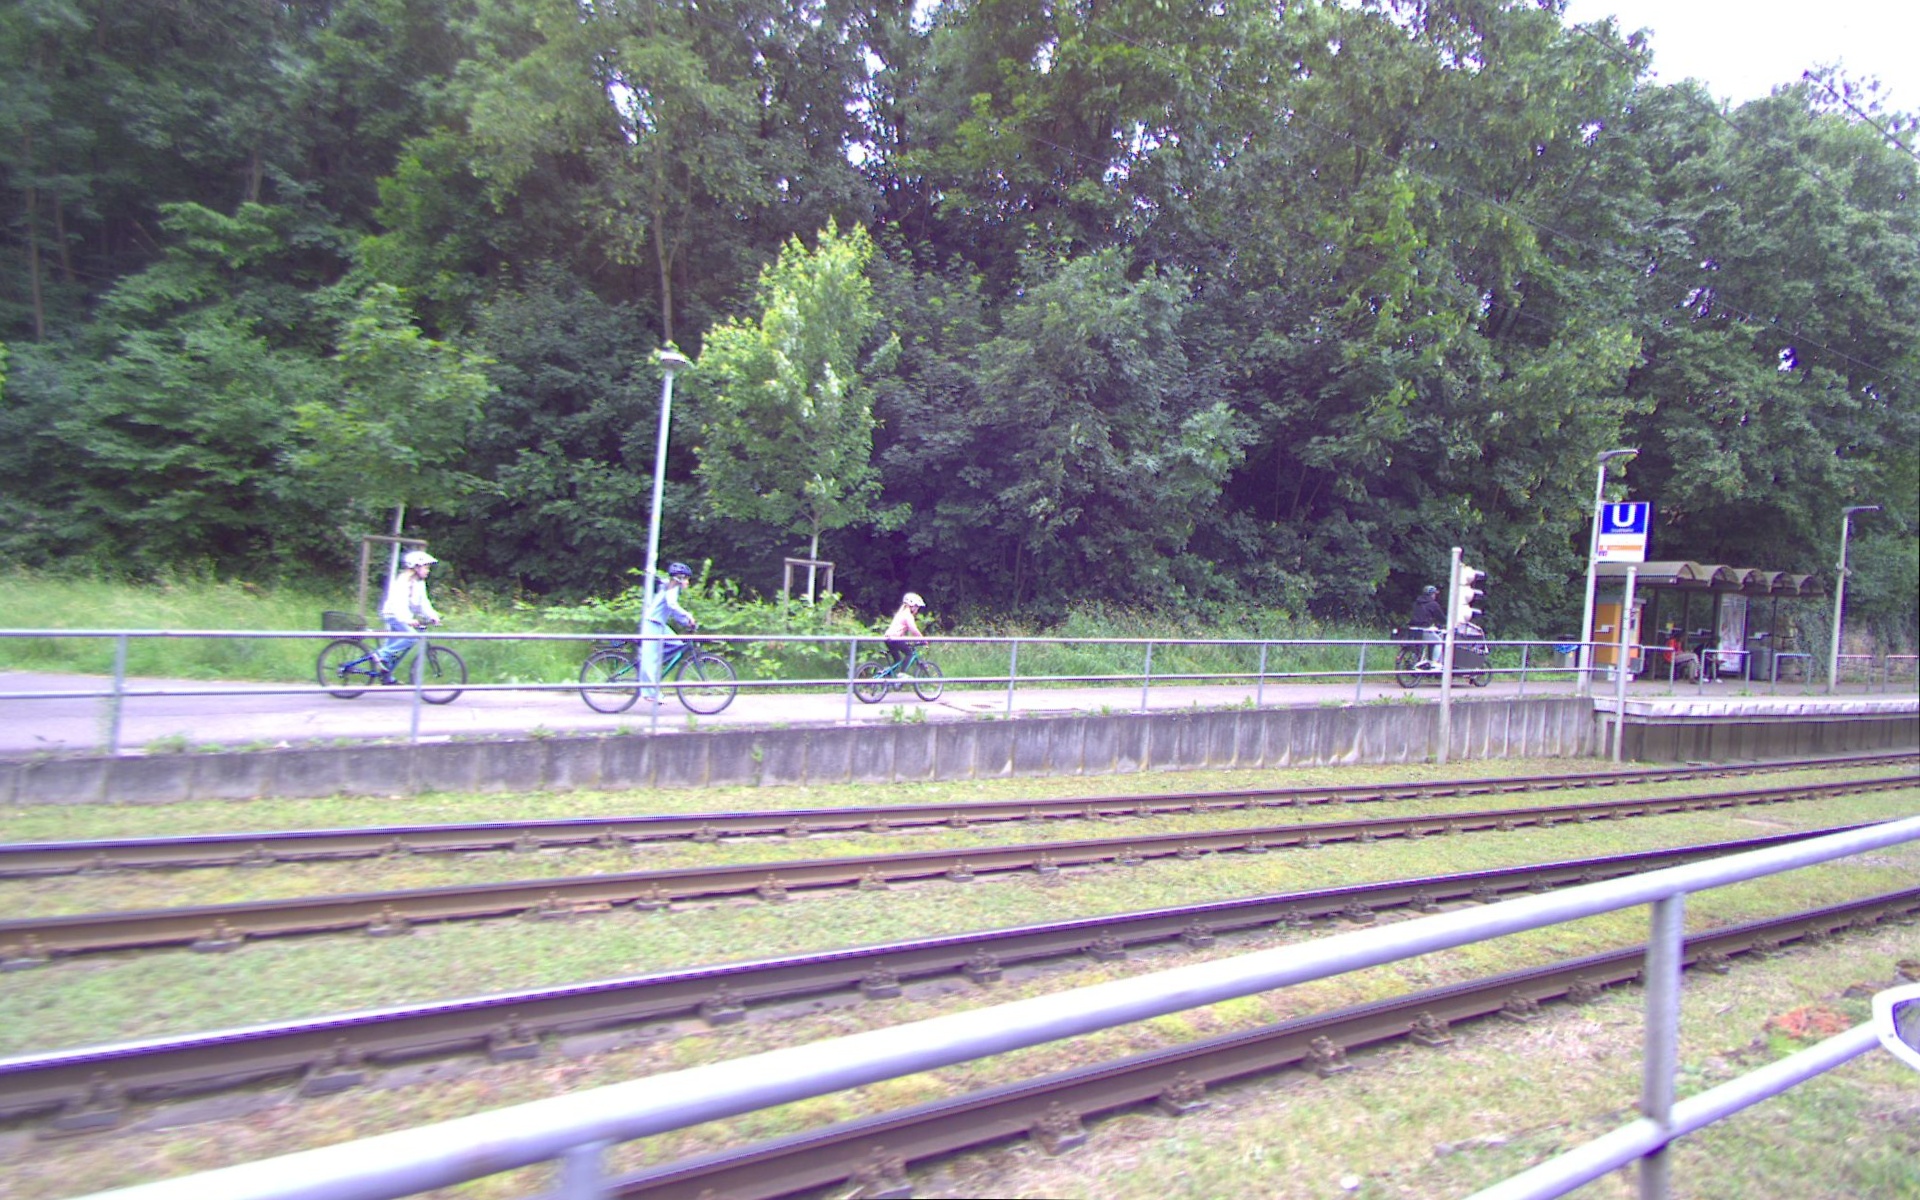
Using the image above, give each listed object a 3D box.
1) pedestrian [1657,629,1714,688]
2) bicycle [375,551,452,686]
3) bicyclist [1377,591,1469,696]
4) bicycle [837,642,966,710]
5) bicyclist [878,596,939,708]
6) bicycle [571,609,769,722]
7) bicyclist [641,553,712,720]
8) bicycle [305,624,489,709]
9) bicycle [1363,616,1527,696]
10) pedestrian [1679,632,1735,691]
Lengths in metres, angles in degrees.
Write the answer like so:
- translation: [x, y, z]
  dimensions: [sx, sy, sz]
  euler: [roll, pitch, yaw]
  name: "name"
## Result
- translation: [17.832, 1.436, 24.689]
  dimensions: [0.778, 1.344, 0.768]
  euler: [3, 3, -30]
  name: "pedestrian"
- translation: [-5.710, 0.183, 10.507]
  dimensions: [0.506, 1.348, 0.454]
  euler: [4, 3, -3]
  name: "bicycle"
- translation: [8.139, 0.752, 17.670]
  dimensions: [1.276, 1.734, 0.730]
  euler: [1, 3, -27]
  name: "bicyclist"
- translation: [-0.711, 0.919, 12.416]
  dimensions: [1.540, 0.749, 0.451]
  euler: [1, 4, -30]
  name: "bicycle"
- translation: [-0.640, 0.630, 12.433]
  dimensions: [0.574, 1.319, 0.451]
  euler: [0, 4, -30]
  name: "bicyclist"
- translation: [-3.046, 0.697, 10.653]
  dimensions: [1.913, 1.055, 0.473]
  euler: [4, 3, -16]
  name: "bicycle"
- translation: [-3.000, 0.381, 10.645]
  dimensions: [0.613, 1.697, 0.473]
  euler: [4, 3, -15]
  name: "bicyclist"
- translation: [-5.876, 0.690, 10.524]
  dimensions: [1.621, 0.748, 0.454]
  euler: [4, 3, -4]
  name: "bicycle"
- translation: [8.716, 0.992, 17.977]
  dimensions: [3.303, 1.307, 0.730]
  euler: [2, 3, -27]
  name: "bicycle"
- translation: [18.744, 1.533, 25.203]
  dimensions: [0.778, 1.343, 0.768]
  euler: [6, 2, -30]
  name: "pedestrian"
